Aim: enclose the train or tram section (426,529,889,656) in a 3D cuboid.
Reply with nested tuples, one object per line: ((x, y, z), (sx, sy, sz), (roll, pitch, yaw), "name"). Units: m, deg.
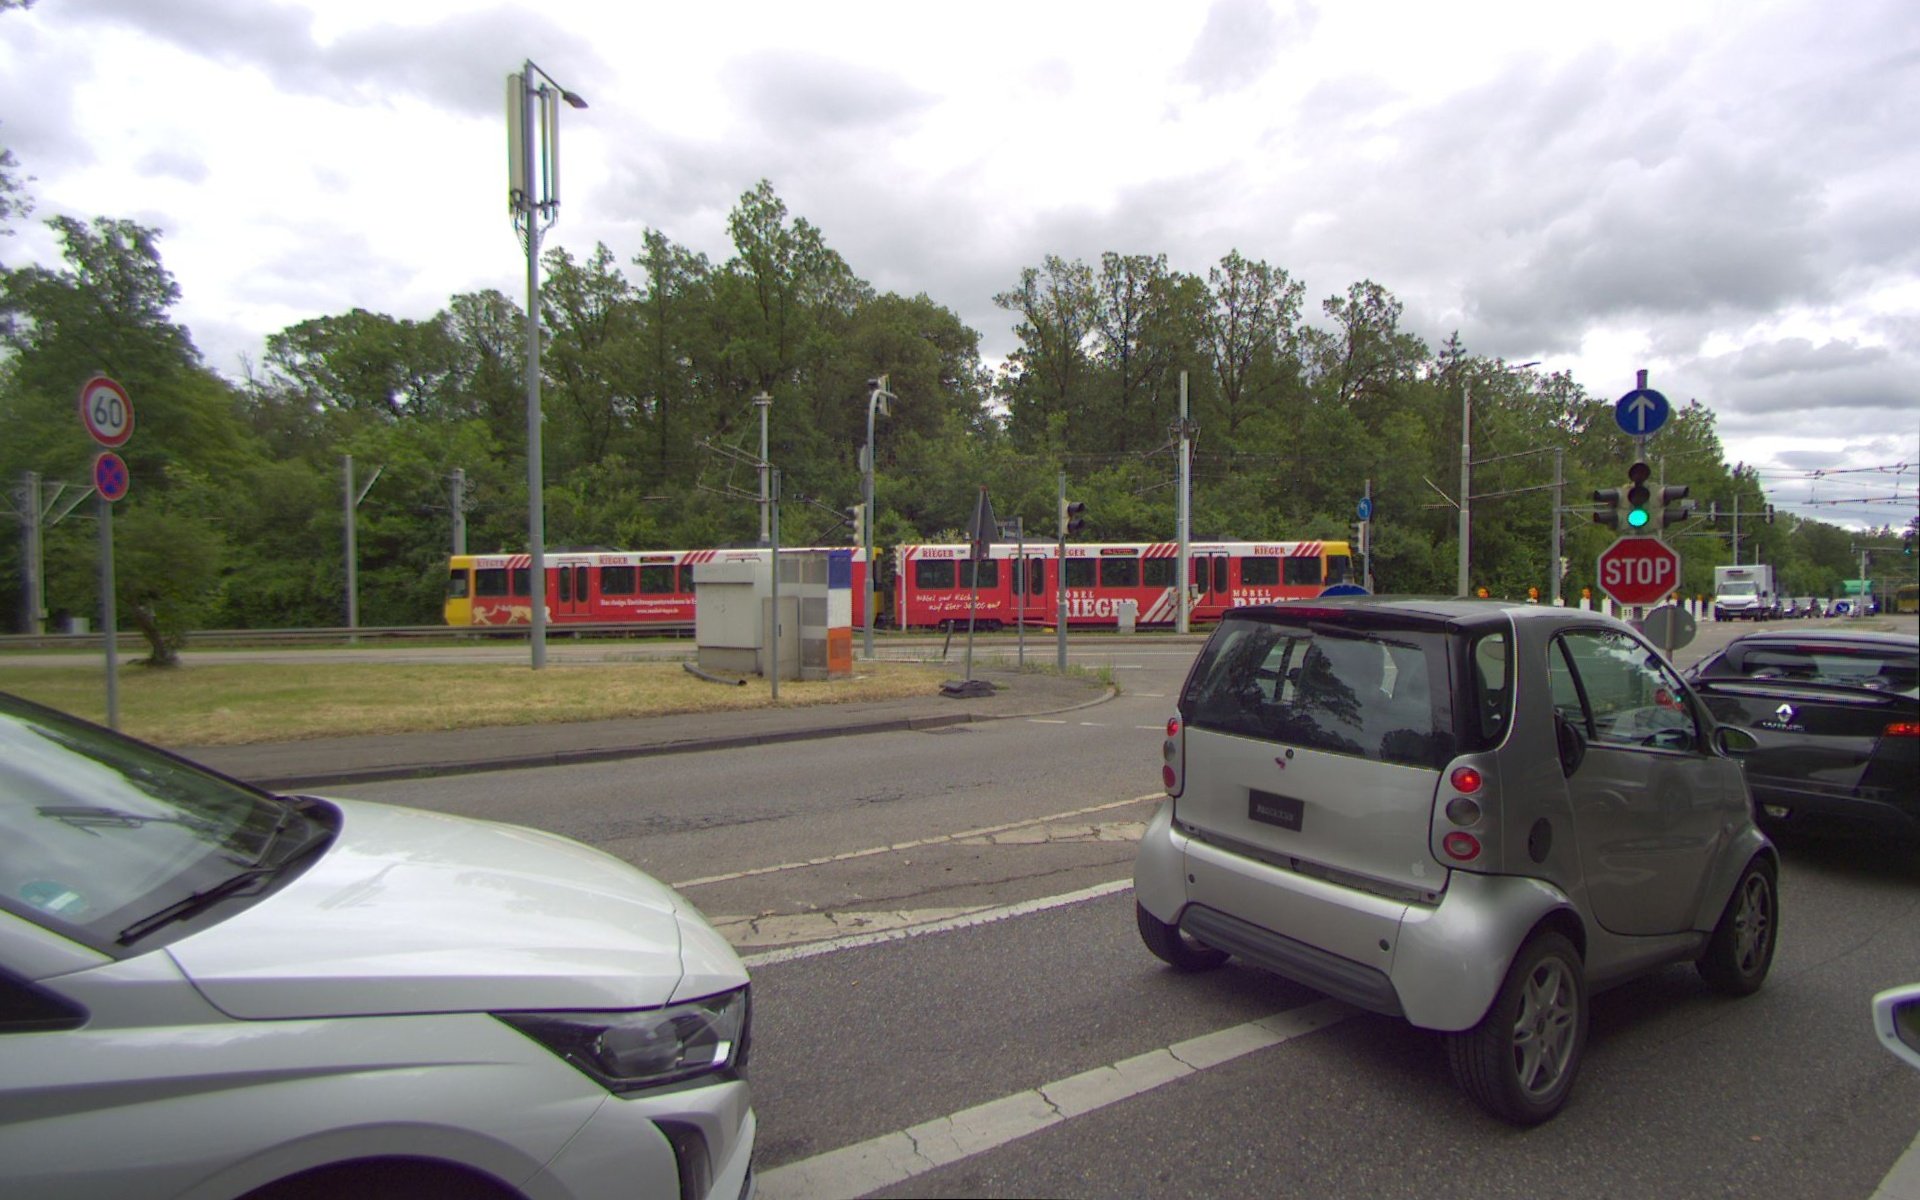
((-12.283, -0.349, 40.944), (18.349, 4.477, 2.967), (2, 0, 8), "train or tram section")

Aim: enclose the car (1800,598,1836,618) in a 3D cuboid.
((70.248, 0.630, 82.208), (1.942, 1.628, 4.283), (1, 1, 45), "car")

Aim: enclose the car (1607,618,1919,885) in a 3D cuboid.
((6.038, 0.837, 6.928), (3.448, 1.380, 1.759), (0, 0, -41), "car")

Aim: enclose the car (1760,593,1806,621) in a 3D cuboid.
((54.965, 0.429, 67.039), (1.941, 1.773, 4.815), (1, 1, 44), "car")

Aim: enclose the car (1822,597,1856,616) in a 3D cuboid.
((74.974, 0.560, 85.636), (1.942, 1.562, 4.368), (1, 1, 45), "car")

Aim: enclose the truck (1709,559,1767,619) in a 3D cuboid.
((45.024, -0.572, 58.040), (2.419, 3.267, 7.122), (0, 0, 40), "truck")

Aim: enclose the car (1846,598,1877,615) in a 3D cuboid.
((84.860, 0.615, 94.564), (1.942, 1.561, 4.283), (1, 1, 45), "car")

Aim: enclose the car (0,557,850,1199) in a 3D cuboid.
((-2.346, 0.697, 1.612), (4.022, 1.499, 1.643), (0, 0, -28), "car")

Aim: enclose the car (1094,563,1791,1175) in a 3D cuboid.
((2.013, 0.715, 4.033), (2.701, 1.607, 1.447), (0, 0, -36), "car")

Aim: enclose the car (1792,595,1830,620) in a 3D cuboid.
((65.675, 0.543, 77.496), (1.942, 1.869, 4.660), (1, 1, 45), "car")

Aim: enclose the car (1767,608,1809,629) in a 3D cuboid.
((59.590, 1.310, 72.270), (1.942, 1.380, 4.660), (1, 1, 45), "car")

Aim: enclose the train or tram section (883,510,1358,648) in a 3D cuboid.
((6.195, -0.775, 40.030), (18.183, 4.712, 2.956), (2, 0, -1), "train or tram section")
